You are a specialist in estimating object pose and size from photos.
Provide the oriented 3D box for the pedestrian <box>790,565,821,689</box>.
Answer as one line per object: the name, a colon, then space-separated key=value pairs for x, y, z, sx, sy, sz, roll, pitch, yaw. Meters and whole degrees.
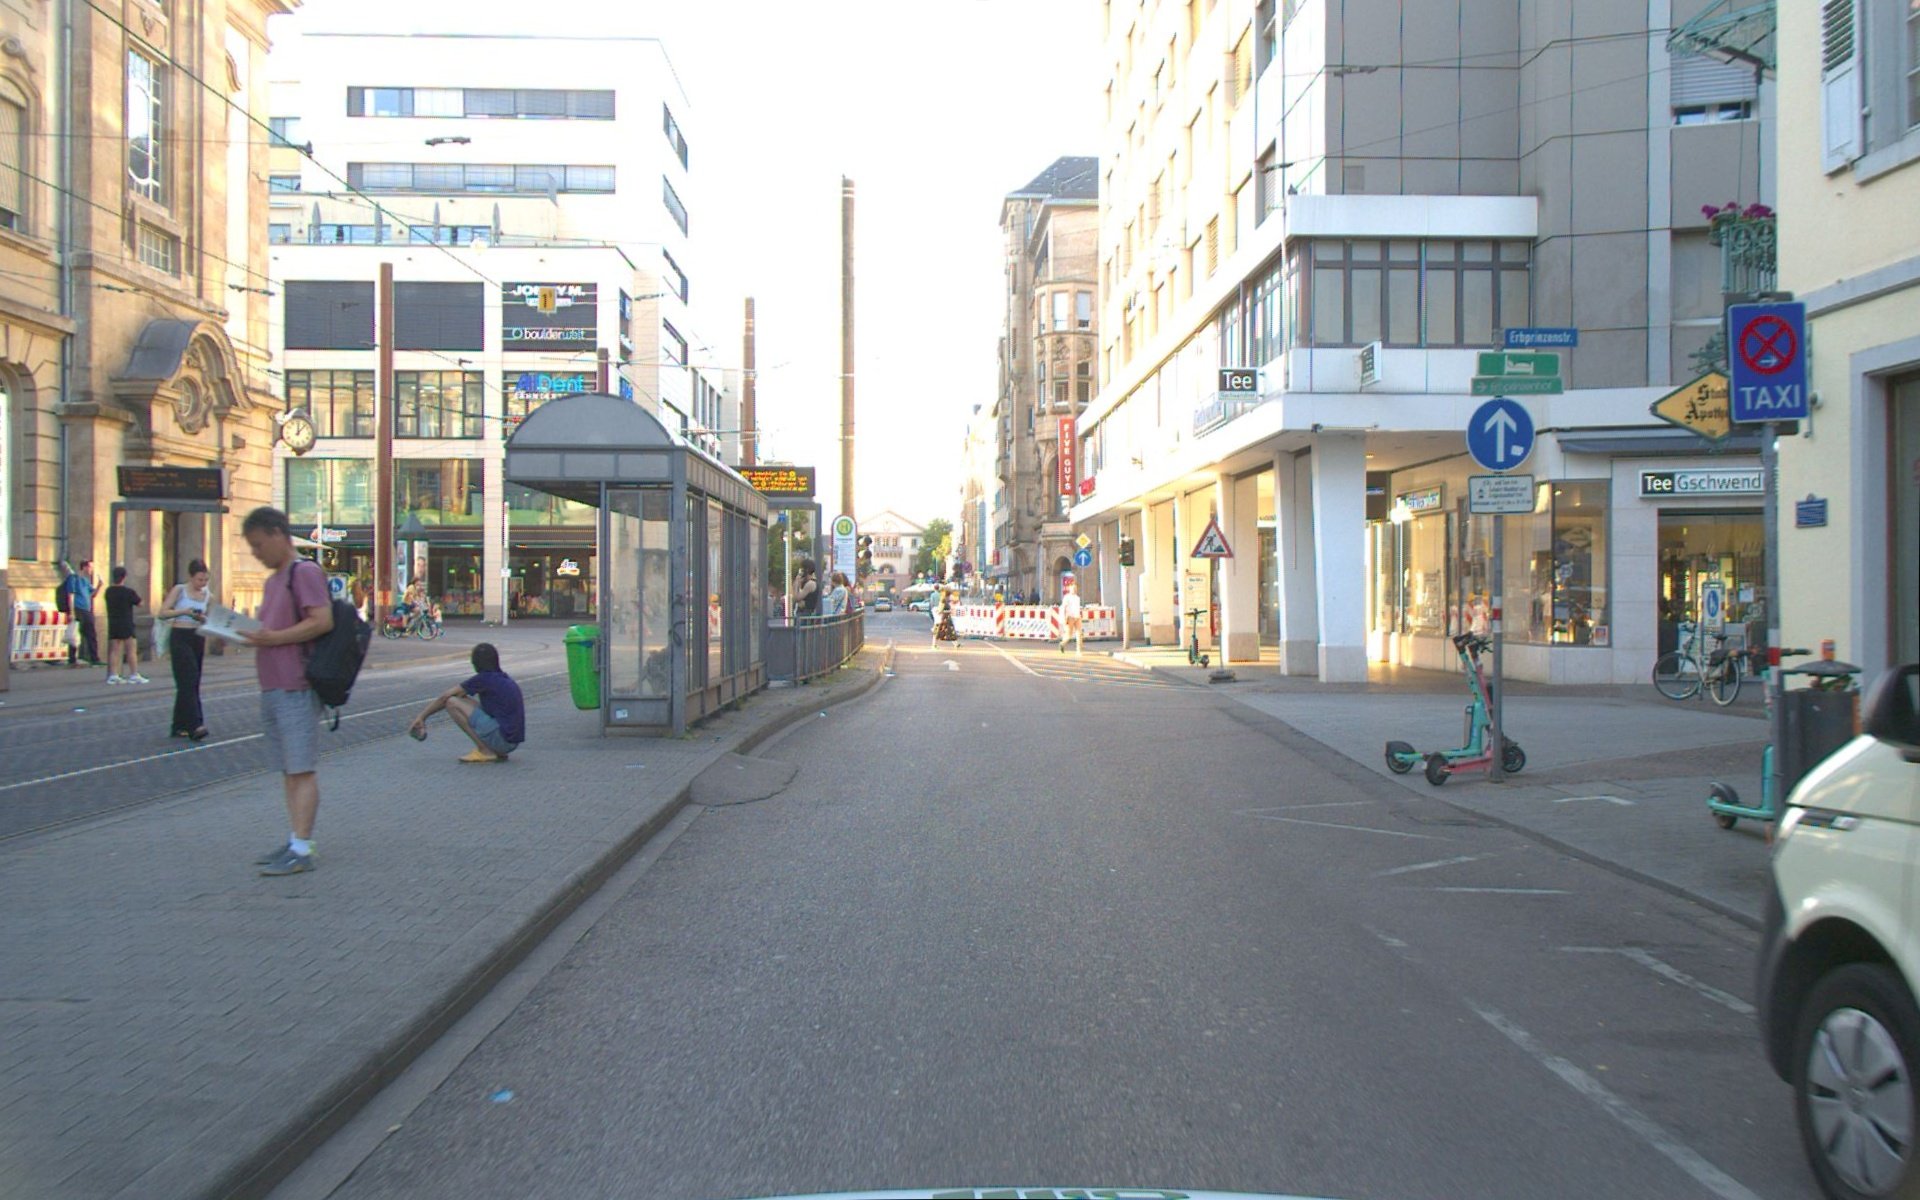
pedestrian: x=-2.273 y=0.396 z=24.372 sx=0.404 sy=1.798 sz=0.594 roll=1 pitch=-1 yaw=-4

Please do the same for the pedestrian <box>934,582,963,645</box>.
pedestrian: x=-0.313 y=0.373 z=45.526 sx=0.686 sy=1.723 sz=0.540 roll=1 pitch=-1 yaw=-9

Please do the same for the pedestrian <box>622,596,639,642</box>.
pedestrian: x=-11.648 y=0.667 z=58.506 sx=0.558 sy=1.621 sz=0.447 roll=0 pitch=-1 yaw=-8

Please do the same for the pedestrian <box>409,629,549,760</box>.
pedestrian: x=-3.731 y=0.715 z=12.845 sx=0.781 sy=0.955 sz=0.693 roll=0 pitch=0 yaw=21

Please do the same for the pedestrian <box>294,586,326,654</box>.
pedestrian: x=-15.078 y=0.454 z=38.366 sx=0.489 sy=1.552 sz=0.520 roll=0 pitch=0 yaw=8

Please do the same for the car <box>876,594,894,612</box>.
car: x=-8.233 y=0.339 z=181.316 sx=1.953 sy=1.937 sz=3.998 roll=1 pitch=-1 yaw=-2

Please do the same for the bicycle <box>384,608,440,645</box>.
bicycle: x=-17.329 y=0.843 z=52.339 sx=1.589 sy=1.123 sz=0.629 roll=-1 pitch=-1 yaw=-7

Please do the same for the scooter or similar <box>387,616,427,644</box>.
scooter or similar: x=-18.741 y=1.005 z=56.073 sx=1.071 sy=0.920 sz=0.890 roll=0 pitch=0 yaw=-1

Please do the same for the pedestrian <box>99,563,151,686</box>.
pedestrian: x=-12.459 y=0.359 z=24.687 sx=0.548 sy=1.807 sz=0.468 roll=1 pitch=0 yaw=-6

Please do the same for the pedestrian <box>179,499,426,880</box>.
pedestrian: x=-3.091 y=0.391 z=7.799 sx=0.675 sy=1.666 sz=0.857 roll=0 pitch=0 yaw=39

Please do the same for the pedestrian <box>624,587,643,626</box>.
pedestrian: x=-14.092 y=0.281 z=71.393 sx=0.635 sy=1.703 sz=0.530 roll=0 pitch=0 yaw=6

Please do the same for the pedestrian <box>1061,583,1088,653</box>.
pedestrian: x=3.047 y=0.480 z=44.069 sx=0.684 sy=1.847 sz=0.852 roll=1 pitch=0 yaw=3

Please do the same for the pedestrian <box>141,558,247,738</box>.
pedestrian: x=-7.490 y=0.463 z=16.187 sx=0.660 sy=1.721 sz=0.638 roll=0 pitch=-1 yaw=18

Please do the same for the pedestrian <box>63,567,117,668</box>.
pedestrian: x=-15.734 y=0.310 z=29.930 sx=0.608 sy=1.807 sz=0.705 roll=1 pitch=0 yaw=-5

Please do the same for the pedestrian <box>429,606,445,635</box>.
pedestrian: x=-17.976 y=0.704 z=56.808 sx=0.413 sy=0.982 sz=0.418 roll=0 pitch=0 yaw=0

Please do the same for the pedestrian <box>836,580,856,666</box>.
pedestrian: x=-2.245 y=0.450 z=32.493 sx=0.350 sy=1.670 sz=0.502 roll=1 pitch=-1 yaw=-4

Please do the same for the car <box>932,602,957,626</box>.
car: x=-1.153 y=0.993 z=118.301 sx=1.645 sy=1.641 sz=4.026 roll=-1 pitch=0 yaw=-2

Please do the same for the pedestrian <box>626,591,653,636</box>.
pedestrian: x=-11.793 y=0.496 z=60.792 sx=0.811 sy=1.642 sz=0.687 roll=0 pitch=0 yaw=-27

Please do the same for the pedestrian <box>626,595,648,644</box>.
pedestrian: x=-11.325 y=0.680 z=57.939 sx=0.730 sy=1.730 sz=0.609 roll=0 pitch=-1 yaw=-10

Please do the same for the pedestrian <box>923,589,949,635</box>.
pedestrian: x=-0.943 y=0.472 z=65.544 sx=0.847 sy=1.792 sz=0.768 roll=1 pitch=-1 yaw=10

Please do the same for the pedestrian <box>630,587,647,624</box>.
pedestrian: x=-16.760 y=0.284 z=86.290 sx=0.560 sy=1.887 sz=0.817 roll=1 pitch=-1 yaw=10

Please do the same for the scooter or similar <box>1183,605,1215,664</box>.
scooter or similar: x=5.201 y=0.746 z=36.014 sx=0.495 sy=1.256 sz=1.179 roll=0 pitch=0 yaw=-2

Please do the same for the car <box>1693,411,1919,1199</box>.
car: x=3.228 y=0.554 z=2.656 sx=1.839 sy=1.957 sz=4.697 roll=2 pitch=-1 yaw=-2

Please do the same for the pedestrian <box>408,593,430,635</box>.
pedestrian: x=-18.581 y=0.483 z=56.796 sx=0.626 sy=1.445 sz=0.418 roll=0 pitch=0 yaw=0

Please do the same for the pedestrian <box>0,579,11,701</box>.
pedestrian: x=-12.837 y=0.517 z=21.569 sx=0.507 sy=1.597 sz=0.638 roll=0 pitch=-1 yaw=2

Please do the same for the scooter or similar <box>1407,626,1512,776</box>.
scooter or similar: x=4.388 y=0.868 z=14.507 sx=1.035 sy=1.256 sz=0.269 roll=-1 pitch=-1 yaw=-34

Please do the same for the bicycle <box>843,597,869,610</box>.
bicycle: x=-8.523 y=0.317 z=135.134 sx=2.104 sy=1.047 sz=0.640 roll=0 pitch=-1 yaw=0

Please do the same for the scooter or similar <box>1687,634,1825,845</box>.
scooter or similar: x=5.109 y=0.858 z=10.676 sx=0.266 sy=1.256 sz=1.308 roll=-1 pitch=-1 yaw=2

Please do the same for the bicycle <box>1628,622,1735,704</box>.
bicycle: x=10.391 y=0.884 z=23.902 sx=0.753 sy=1.046 sz=1.847 roll=1 pitch=2 yaw=1

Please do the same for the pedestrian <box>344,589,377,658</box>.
pedestrian: x=-13.489 y=0.522 z=37.229 sx=0.514 sy=1.552 sz=0.503 roll=0 pitch=0 yaw=9

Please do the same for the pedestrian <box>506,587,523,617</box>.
pedestrian: x=-23.669 y=0.123 z=87.832 sx=0.560 sy=1.553 sz=0.791 roll=1 pitch=-1 yaw=10

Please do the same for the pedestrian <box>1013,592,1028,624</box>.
pedestrian: x=3.226 y=0.425 z=88.094 sx=0.697 sy=1.639 sz=0.821 roll=1 pitch=-1 yaw=-5

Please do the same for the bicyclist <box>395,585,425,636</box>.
bicyclist: x=-17.399 y=0.328 z=52.340 sx=0.774 sy=1.621 sz=0.609 roll=0 pitch=-1 yaw=-8

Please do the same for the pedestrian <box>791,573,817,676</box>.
pedestrian: x=-2.583 y=0.400 z=27.373 sx=0.378 sy=1.670 sz=0.549 roll=1 pitch=-1 yaw=-4

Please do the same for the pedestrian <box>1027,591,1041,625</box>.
pedestrian: x=3.695 y=0.396 z=82.407 sx=0.612 sy=1.719 sz=0.670 roll=0 pitch=-1 yaw=-4

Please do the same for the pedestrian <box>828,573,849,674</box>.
pedestrian: x=-2.217 y=0.432 z=30.207 sx=0.335 sy=1.827 sz=0.544 roll=1 pitch=-1 yaw=-4

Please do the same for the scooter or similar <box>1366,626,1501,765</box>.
scooter or similar: x=4.344 y=0.876 z=15.204 sx=1.151 sy=1.256 sz=0.316 roll=-1 pitch=-1 yaw=14

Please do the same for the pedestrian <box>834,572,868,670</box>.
pedestrian: x=-2.029 y=0.386 z=30.942 sx=0.528 sy=1.798 sz=0.594 roll=1 pitch=-1 yaw=3
